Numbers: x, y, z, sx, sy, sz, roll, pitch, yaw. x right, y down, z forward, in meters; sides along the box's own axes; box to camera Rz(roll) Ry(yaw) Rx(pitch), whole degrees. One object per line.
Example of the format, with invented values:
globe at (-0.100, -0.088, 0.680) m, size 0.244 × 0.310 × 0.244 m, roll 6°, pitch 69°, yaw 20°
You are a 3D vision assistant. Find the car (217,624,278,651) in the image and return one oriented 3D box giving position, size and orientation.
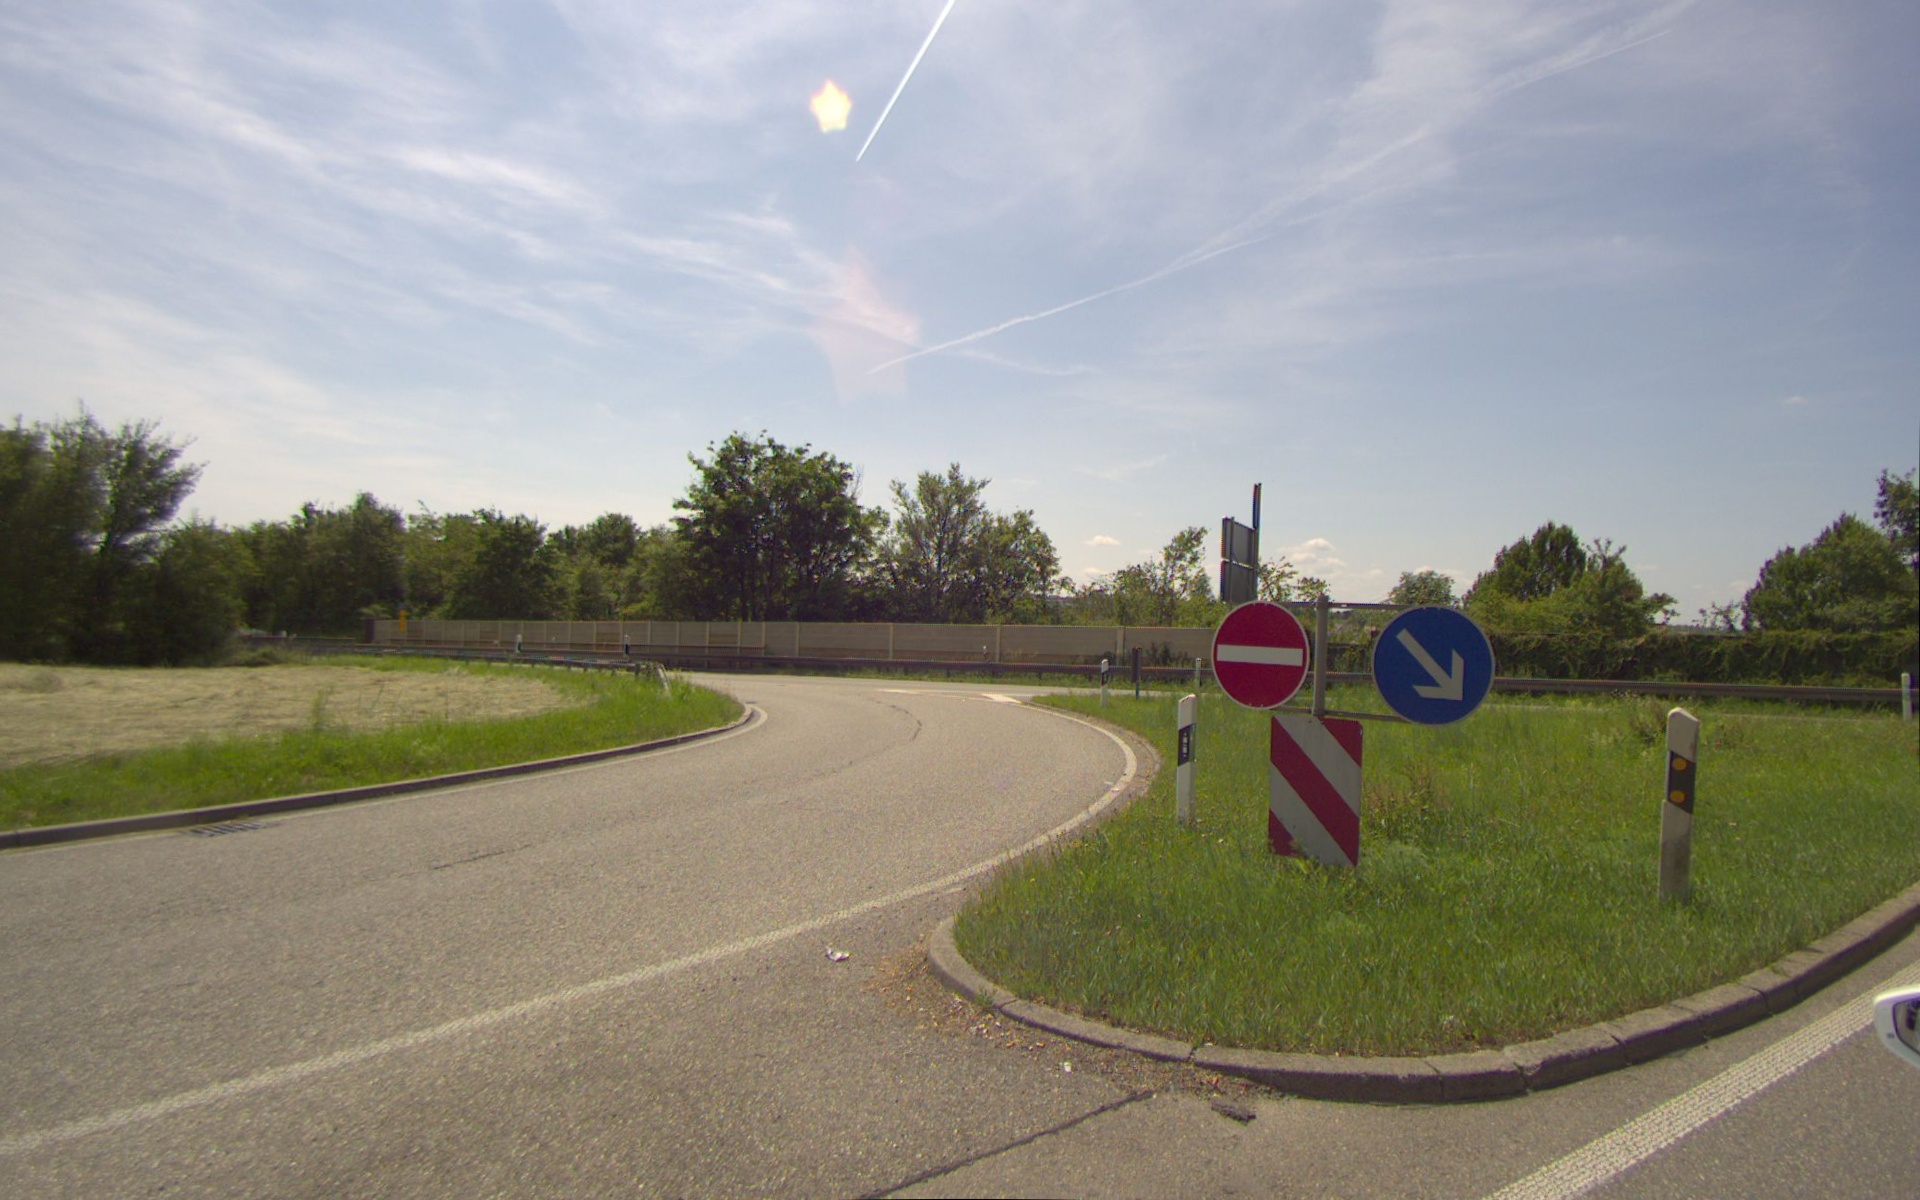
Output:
car at (-44.862, 2.345, 63.195) m, size 4.036 × 1.559 × 1.751 m, roll 0°, pitch -1°, yaw 33°
